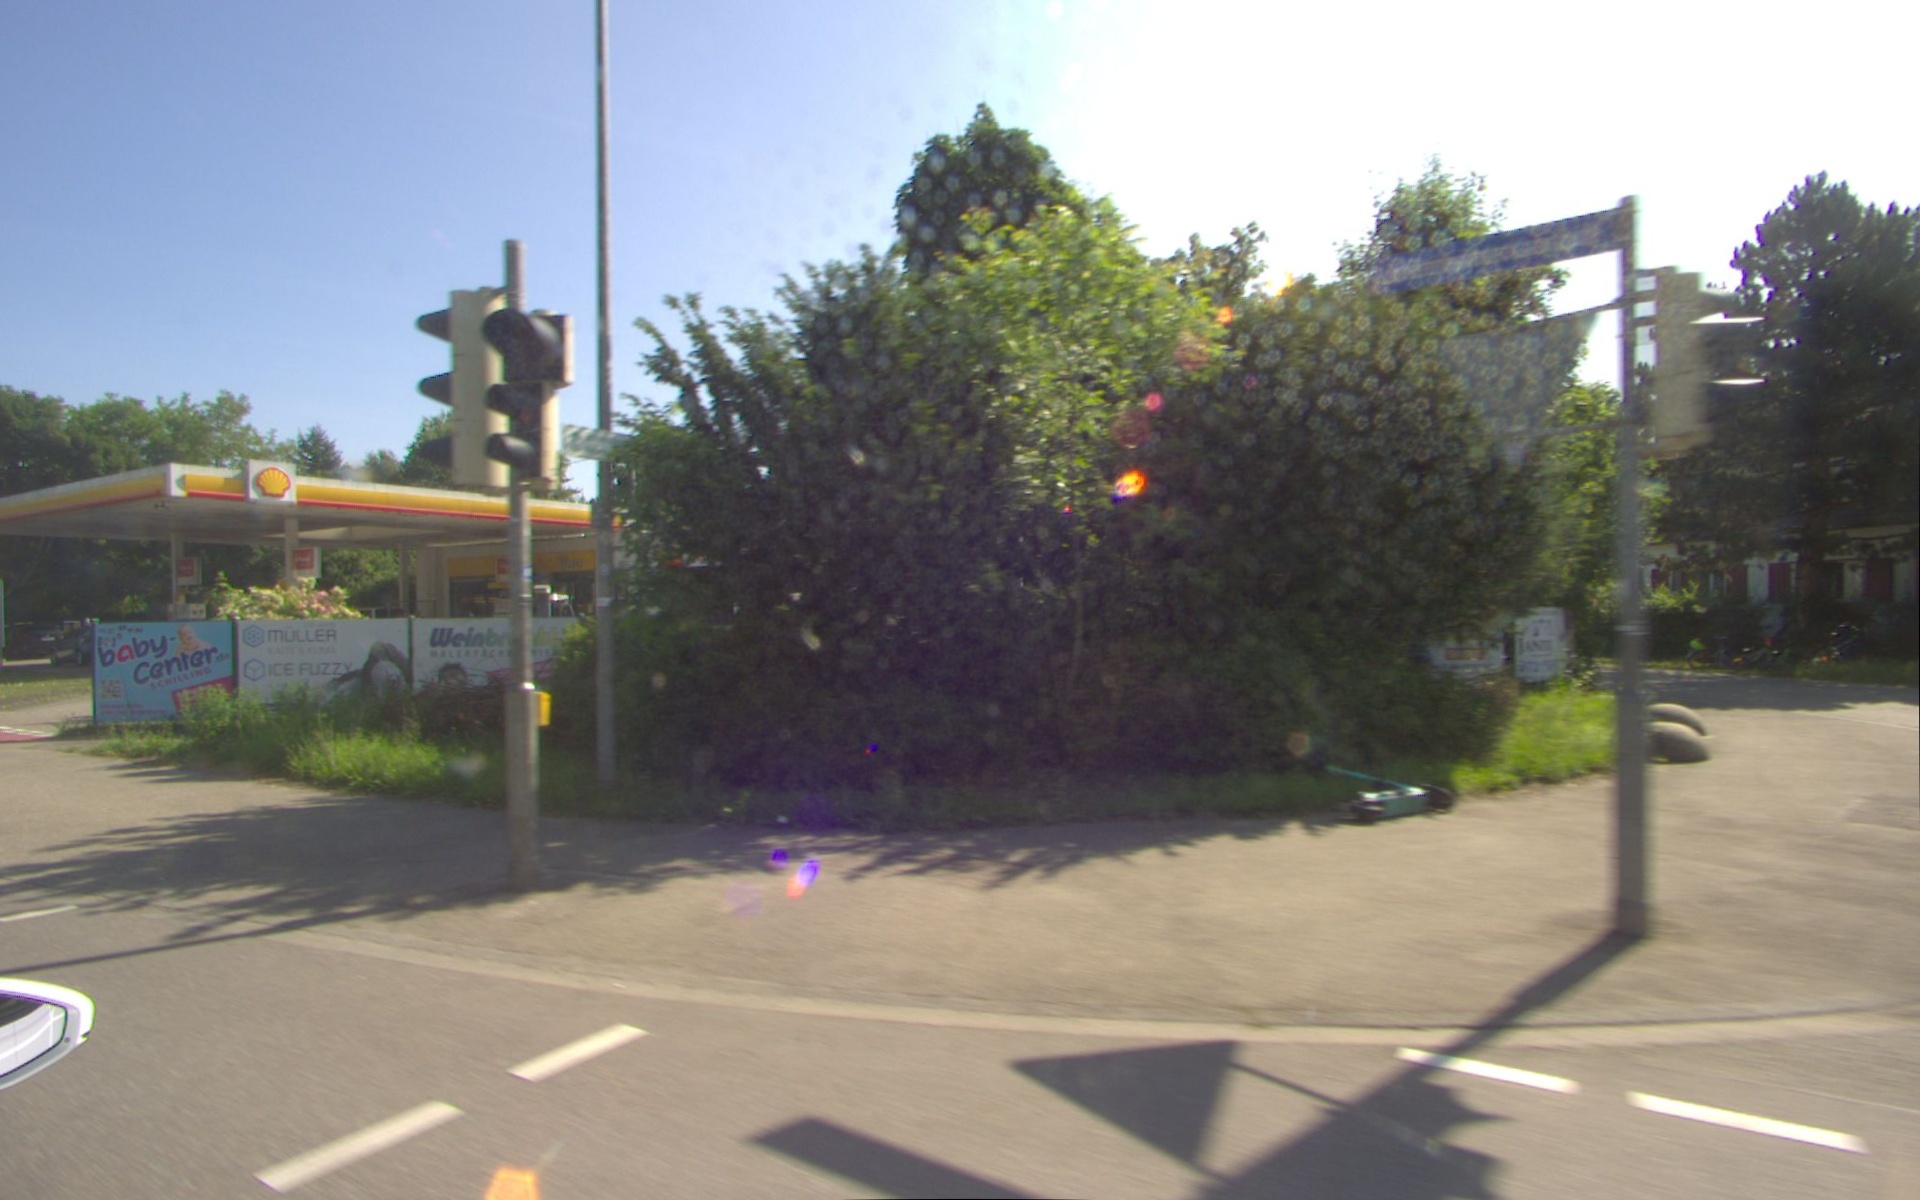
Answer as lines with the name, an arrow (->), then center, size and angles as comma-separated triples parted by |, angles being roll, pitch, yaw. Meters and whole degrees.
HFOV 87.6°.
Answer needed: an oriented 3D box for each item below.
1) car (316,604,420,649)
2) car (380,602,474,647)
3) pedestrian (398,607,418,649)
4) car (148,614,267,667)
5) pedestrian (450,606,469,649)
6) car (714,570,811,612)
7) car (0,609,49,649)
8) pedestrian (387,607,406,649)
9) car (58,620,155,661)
car -> -25.731, 1.119, 43.472 | 4.710, 1.862, 1.848 | -1, 0, 31
car -> -21.605, 1.000, 40.576 | 3.948, 1.750, 1.822 | -2, -1, 36
pedestrian -> -21.603, 1.089, 39.196 | 0.469, 1.614, 0.497 | 0, 0, 36
car -> -24.446, 1.276, 32.502 | 3.820, 1.599, 1.757 | -1, 0, 31
pedestrian -> -19.735, 1.066, 39.459 | 0.494, 1.690, 0.473 | 0, 0, 33
car -> -8.131, -0.333, 41.512 | 1.629, 1.505, 3.979 | -1, -3, 33
car -> -43.851, 1.339, 45.855 | 3.940, 1.788, 1.992 | -1, -2, 30
pedestrian -> -22.339, 1.113, 39.686 | 0.469, 1.653, 0.497 | 0, 0, 36
car -> -31.080, 1.438, 36.432 | 3.796, 1.378, 1.792 | -1, 0, 35
